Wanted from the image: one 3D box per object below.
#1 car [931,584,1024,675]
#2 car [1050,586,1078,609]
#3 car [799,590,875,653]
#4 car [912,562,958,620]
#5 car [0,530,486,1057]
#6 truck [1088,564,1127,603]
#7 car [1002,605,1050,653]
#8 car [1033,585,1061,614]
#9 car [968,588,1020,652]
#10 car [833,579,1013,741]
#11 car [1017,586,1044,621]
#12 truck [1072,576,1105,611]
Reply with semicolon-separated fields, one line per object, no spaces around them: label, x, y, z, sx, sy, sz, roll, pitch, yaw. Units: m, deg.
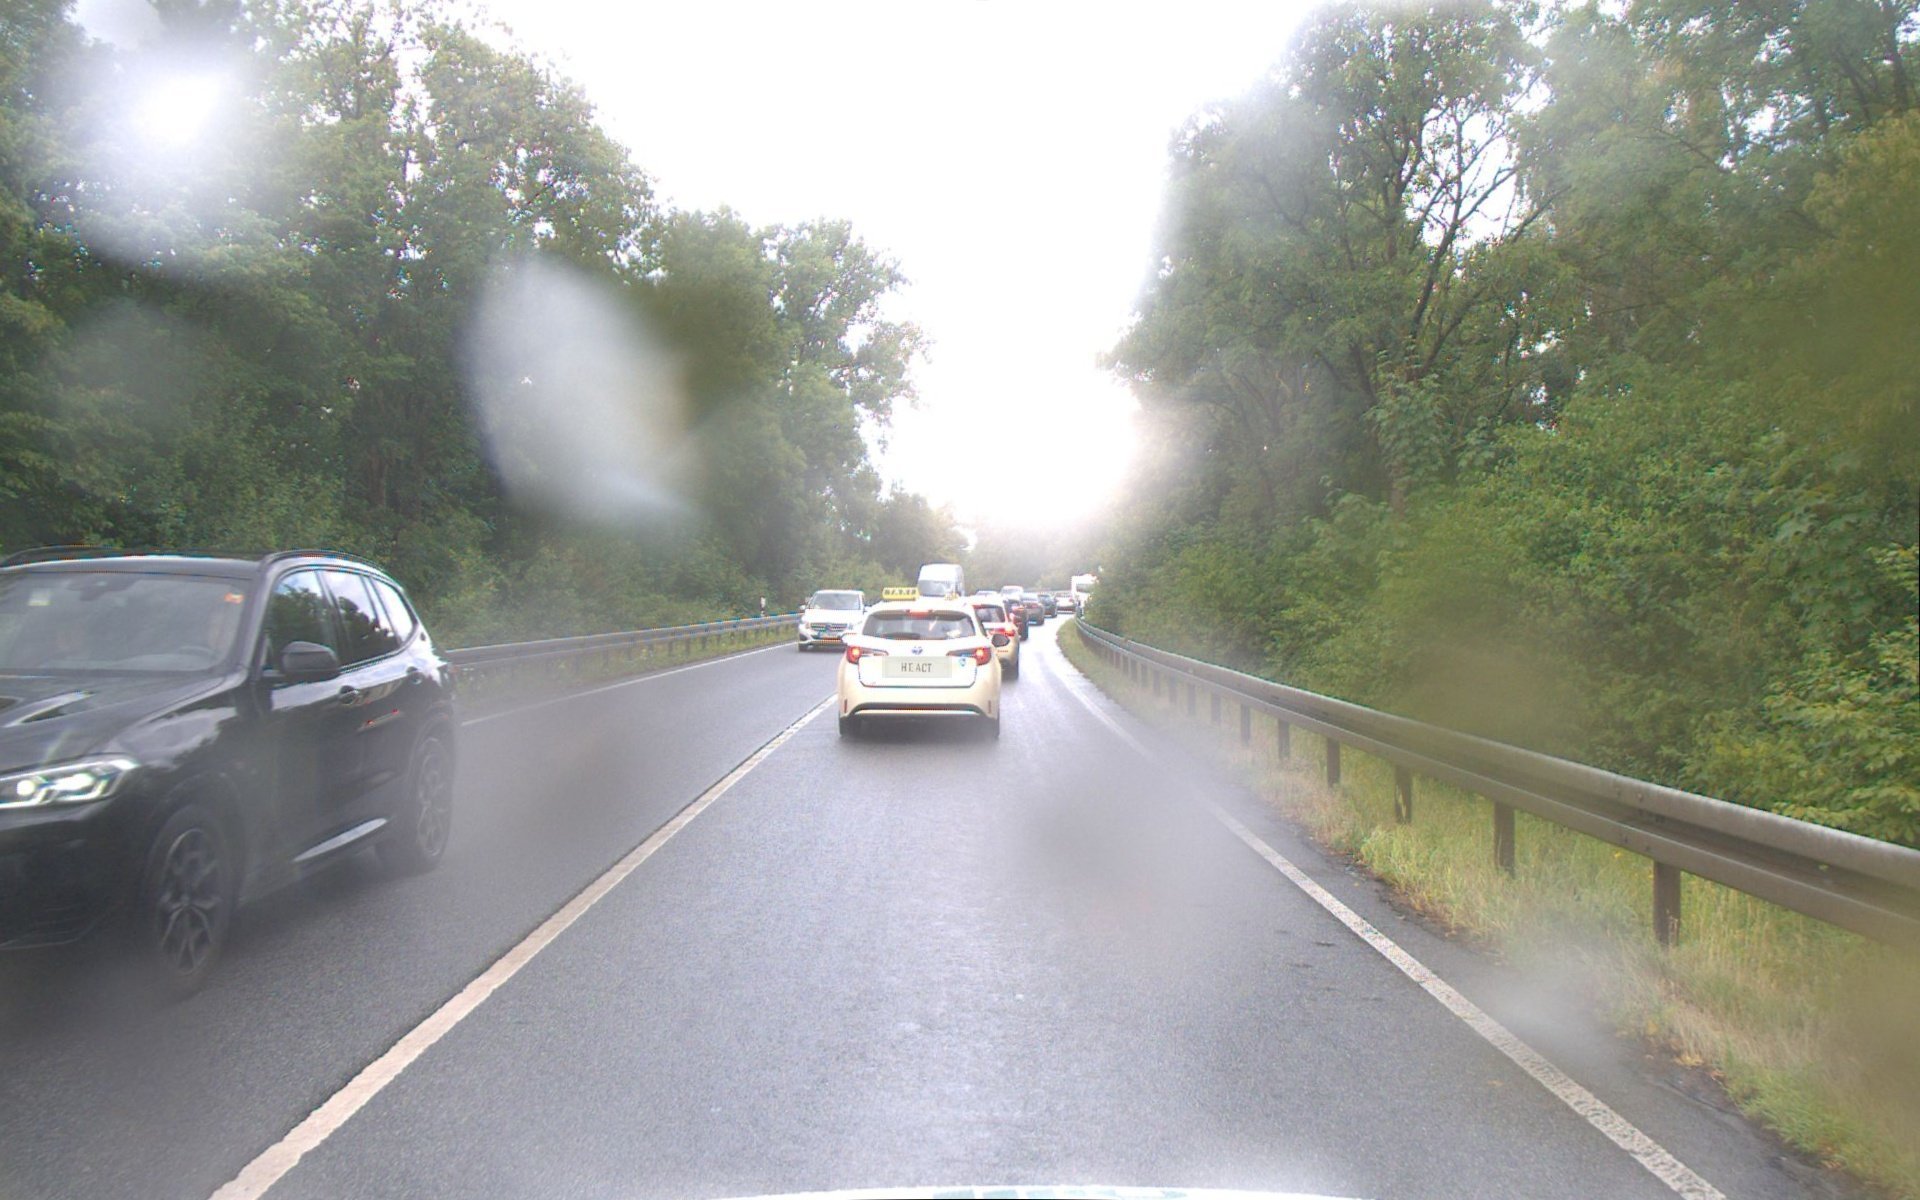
car;0.318;0.541;31.662;1.633;1.608;3.892;1;-1;0
car;7.275;-0.163;115.405;1.732;1.574;3.817;1;-1;7
car;-3.256;0.523;44.497;1.657;1.583;4.442;1;0;0
car;-1.172;-0.401;80.436;2.005;2.723;6.172;0;-1;1
car;-3.631;0.601;7.406;1.809;1.672;4.297;1;0;-1
truck;14.676;-1.584;164.474;3.041;3.745;7.006;1;-1;12
car;2.241;0.966;56.742;1.578;1.574;3.814;0;-1;1
car;5.046;-0.028;96.407;1.582;1.641;3.623;1;-1;3
car;0.877;0.520;43.458;1.274;1.574;3.260;1;-1;1
car;-0.366;0.624;18.814;1.796;1.608;4.156;1;-1;0
car;3.303;0.180;77.666;1.142;1.574;2.605;1;-1;5
truck;10.666;-0.528;137.903;2.496;2.760;7.537;1;-1;3
